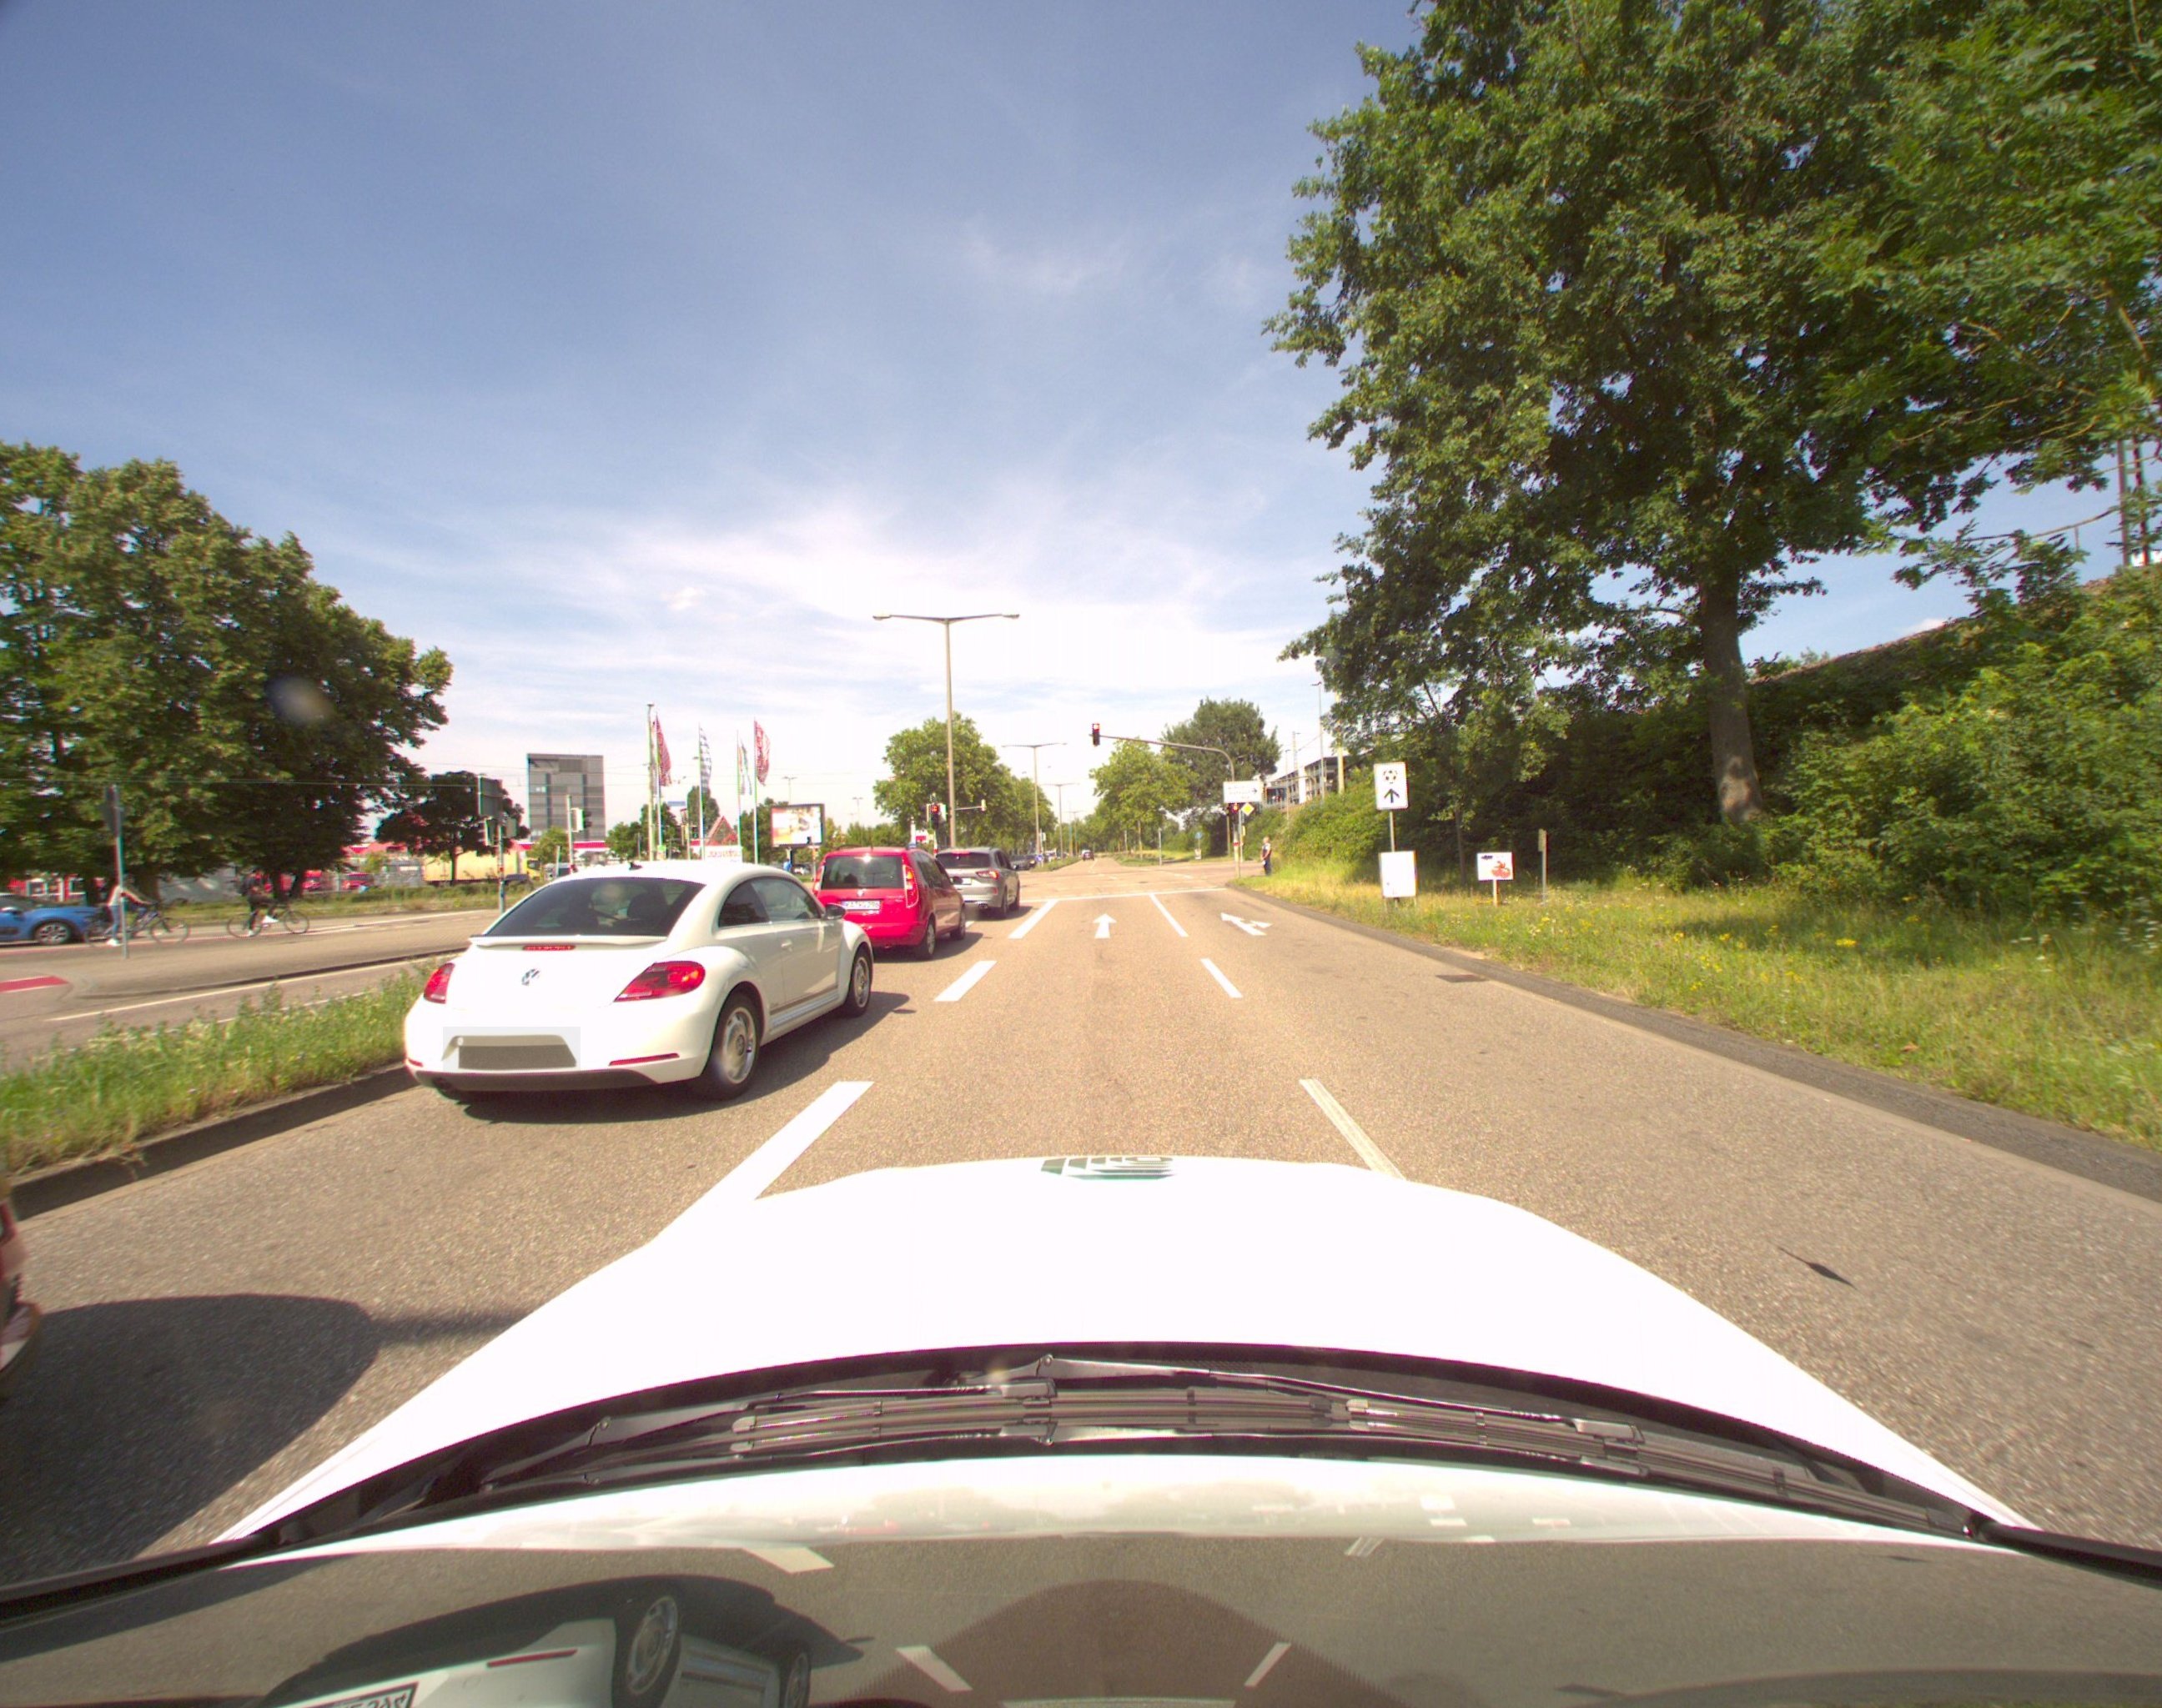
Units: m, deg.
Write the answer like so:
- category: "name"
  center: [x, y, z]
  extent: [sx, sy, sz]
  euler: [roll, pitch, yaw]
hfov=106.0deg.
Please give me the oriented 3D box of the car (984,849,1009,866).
- category: "car"
  center: [-8.589, 0.344, 82.895]
  extent: [1.986, 1.512, 4.002]
  euler: [-2, 2, 1]

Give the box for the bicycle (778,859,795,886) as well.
- category: "bicycle"
  center: [-18.154, 1.111, 50.274]
  extent: [0.670, 1.615, 0.991]
  euler: [-3, 0, -3]

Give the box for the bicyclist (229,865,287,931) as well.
- category: "bicyclist"
  center: [-22.834, 1.211, 22.614]
  extent: [0.904, 1.715, 0.774]
  euler: [-3, 3, -34]

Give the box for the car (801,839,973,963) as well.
- category: "car"
  center: [-2.867, 0.652, 12.894]
  extent: [1.622, 1.596, 3.919]
  euler: [-2, -1, 1]

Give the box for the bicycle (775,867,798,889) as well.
- category: "bicycle"
  center: [-18.129, 1.452, 50.207]
  extent: [0.670, 1.256, 2.244]
  euler: [-3, 0, -3]

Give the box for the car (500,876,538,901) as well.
- category: "car"
  center: [-42.477, 2.576, 61.520]
  extent: [2.011, 1.684, 3.953]
  euler: [-3, 0, -40]

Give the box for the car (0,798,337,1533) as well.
- category: "car"
  center: [-3.286, 0.702, 0.248]
  extent: [1.776, 1.593, 4.595]
  euler: [-1, 0, 1]

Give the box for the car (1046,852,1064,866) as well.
- category: "car"
  center: [-3.337, 0.623, 104.930]
  extent: [1.986, 1.678, 4.001]
  euler: [-2, 0, 1]

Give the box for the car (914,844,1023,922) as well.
- category: "car"
  center: [-2.561, 0.624, 19.552]
  extent: [1.874, 1.618, 4.214]
  euler: [-2, 0, 1]

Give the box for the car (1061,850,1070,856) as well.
- category: "car"
  center: [-4.701, -0.352, 248.982]
  extent: [1.869, 1.694, 4.388]
  euler: [-2, 0, -14]

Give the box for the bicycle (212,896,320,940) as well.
- category: "bicycle"
  center: [-22.678, 1.760, 22.717]
  extent: [1.962, 0.983, 0.781]
  euler: [-3, 3, -34]

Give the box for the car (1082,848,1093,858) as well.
- category: "car"
  center: [1.143, -0.199, 138.261]
  extent: [1.730, 1.535, 4.003]
  euler: [-2, 2, 2]

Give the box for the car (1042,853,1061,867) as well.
- category: "car"
  center: [-3.542, 0.682, 98.242]
  extent: [1.896, 1.596, 4.001]
  euler: [-2, 0, 1]

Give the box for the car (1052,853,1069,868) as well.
- category: "car"
  center: [-2.800, 0.896, 110.551]
  extent: [1.986, 1.895, 4.377]
  euler: [-2, 0, 1]

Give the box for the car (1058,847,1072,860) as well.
- category: "car"
  center: [-2.468, -0.138, 126.589]
  extent: [1.986, 1.895, 4.378]
  euler: [-2, 0, 2]

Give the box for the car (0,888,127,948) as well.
- category: "car"
  center: [-28.948, 1.767, 21.842]
  extent: [4.020, 1.420, 1.977]
  euler: [-2, 0, -39]

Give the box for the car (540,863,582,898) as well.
- category: "car"
  center: [-40.817, 2.069, 63.861]
  extent: [2.011, 2.532, 4.583]
  euler: [-3, 0, -42]

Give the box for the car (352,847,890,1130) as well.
- category: "car"
  center: [-2.931, 0.703, 6.393]
  extent: [1.759, 1.479, 4.137]
  euler: [-1, 0, 1]

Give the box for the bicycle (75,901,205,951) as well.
- category: "bicycle"
  center: [-24.079, 1.824, 20.902]
  extent: [2.019, 1.039, 0.737]
  euler: [-3, 3, -34]

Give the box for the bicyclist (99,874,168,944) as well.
- category: "bicyclist"
  center: [-24.205, 1.385, 20.823]
  extent: [0.904, 1.646, 0.780]
  euler: [-3, 3, -34]

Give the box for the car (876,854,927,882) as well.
- category: "car"
  center: [-9.809, 0.718, 44.791]
  extent: [1.734, 1.390, 4.001]
  euler: [-2, 0, 1]

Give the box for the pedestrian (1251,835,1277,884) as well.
- category: "pedestrian"
  center: [7.449, 0.232, 33.155]
  extent: [0.835, 1.932, 0.771]
  euler: [-2, 2, -2]

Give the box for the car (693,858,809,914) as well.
- category: "car"
  center: [-10.270, 0.934, 25.678]
  extent: [1.769, 1.470, 4.003]
  euler: [-4, 0, 2]

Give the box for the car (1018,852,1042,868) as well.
- category: "car"
  center: [-5.142, 0.554, 81.976]
  extent: [1.986, 1.500, 4.001]
  euler: [-2, 0, 1]

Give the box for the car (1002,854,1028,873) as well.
- category: "car"
  center: [-6.002, 0.848, 74.418]
  extent: [1.911, 1.513, 4.001]
  euler: [-2, 0, 1]

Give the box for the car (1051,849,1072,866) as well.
- category: "car"
  center: [-2.059, 0.360, 87.139]
  extent: [1.986, 1.695, 4.001]
  euler: [-2, 0, 1]
